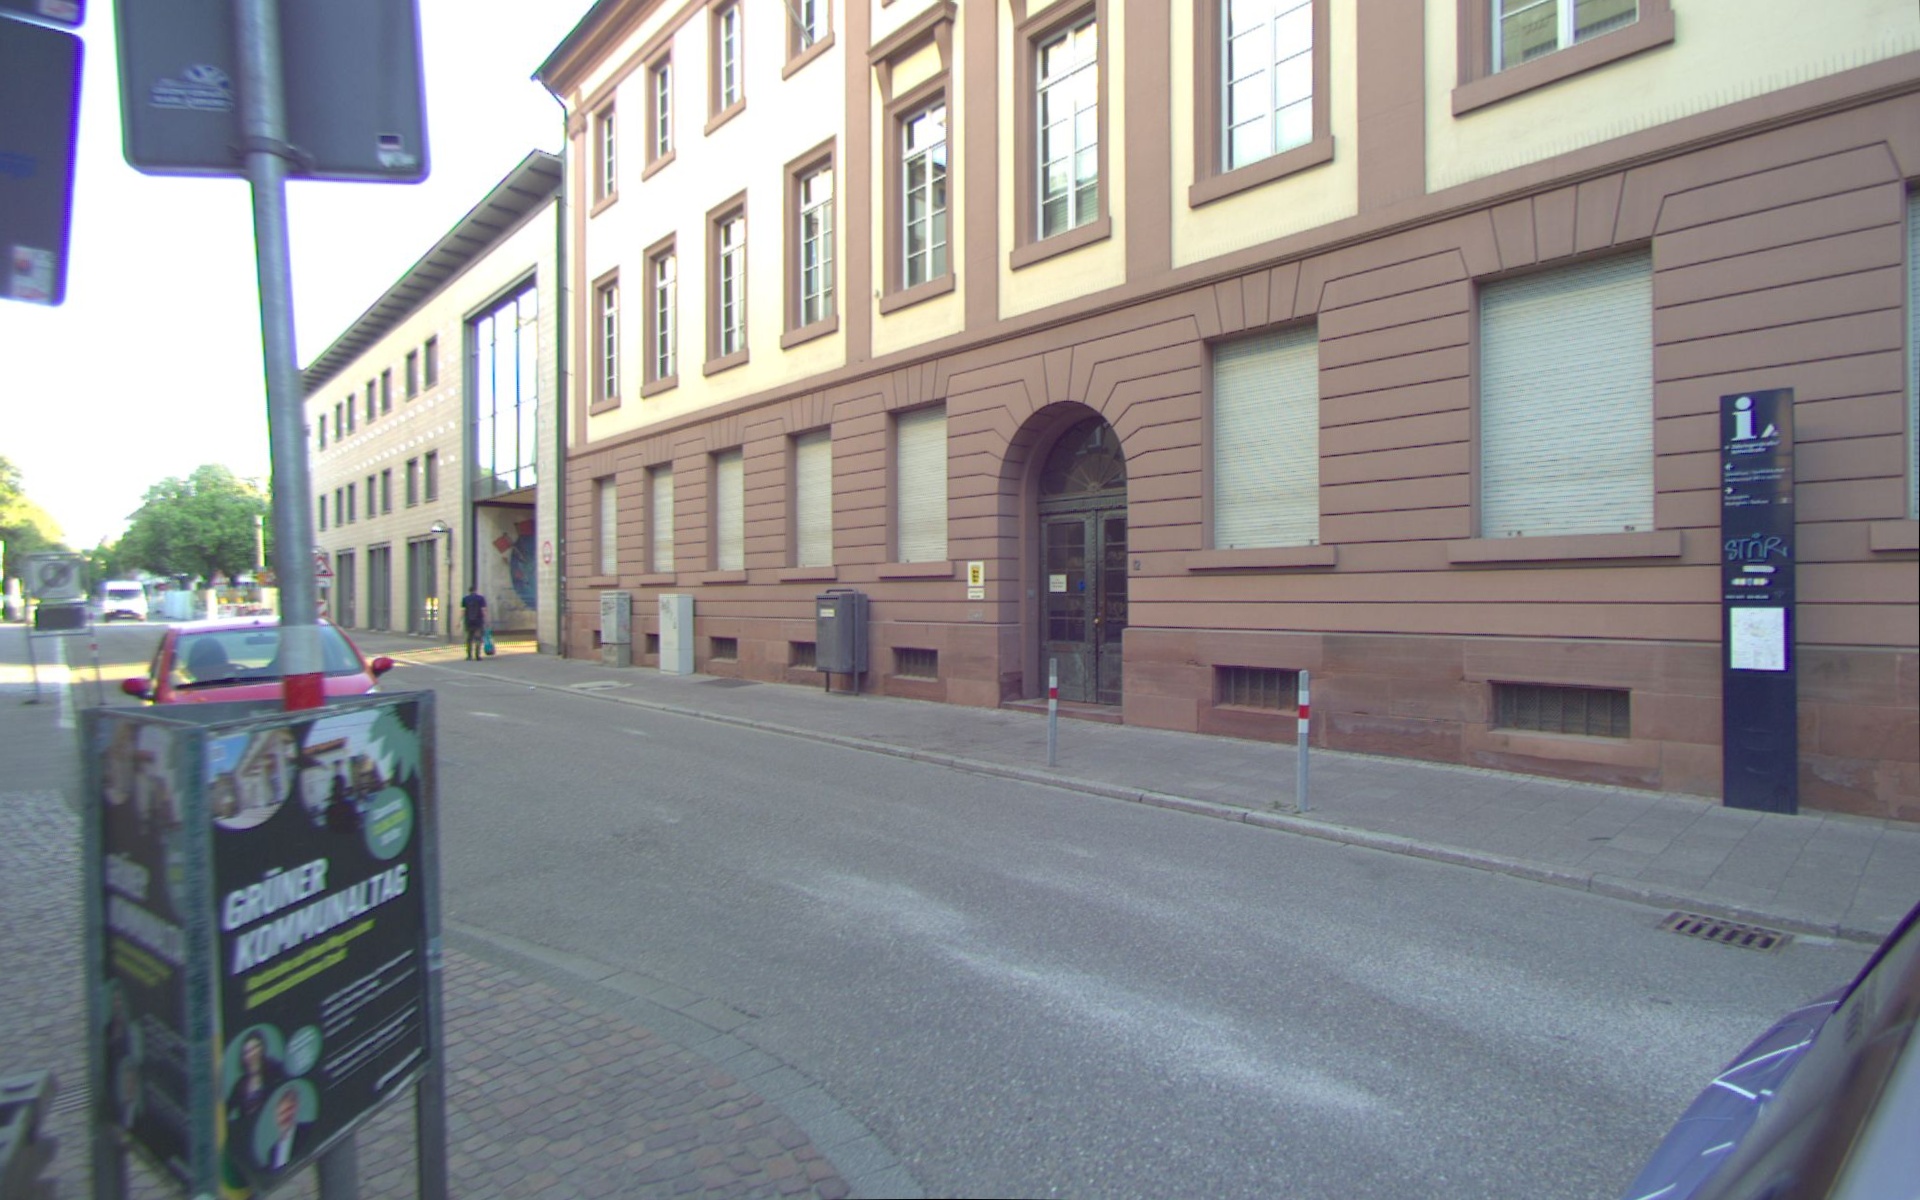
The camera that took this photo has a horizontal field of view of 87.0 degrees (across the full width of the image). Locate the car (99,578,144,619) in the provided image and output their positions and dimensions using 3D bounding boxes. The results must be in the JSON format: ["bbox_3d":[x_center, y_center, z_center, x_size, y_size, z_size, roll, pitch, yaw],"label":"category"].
[{"bbox_3d":[-50.130,-0.105,60.554,1.905,2.334,3.997,0,0,-38],"label":"car"}]

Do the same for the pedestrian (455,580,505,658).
[{"bbox_3d":[-11.466,0.439,24.175,0.913,1.801,0.940,0,0,-37],"label":"pedestrian"}]

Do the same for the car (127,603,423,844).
[{"bbox_3d":[-5.961,0.804,8.597,1.622,1.460,3.994,-4,2,-40],"label":"car"}]
